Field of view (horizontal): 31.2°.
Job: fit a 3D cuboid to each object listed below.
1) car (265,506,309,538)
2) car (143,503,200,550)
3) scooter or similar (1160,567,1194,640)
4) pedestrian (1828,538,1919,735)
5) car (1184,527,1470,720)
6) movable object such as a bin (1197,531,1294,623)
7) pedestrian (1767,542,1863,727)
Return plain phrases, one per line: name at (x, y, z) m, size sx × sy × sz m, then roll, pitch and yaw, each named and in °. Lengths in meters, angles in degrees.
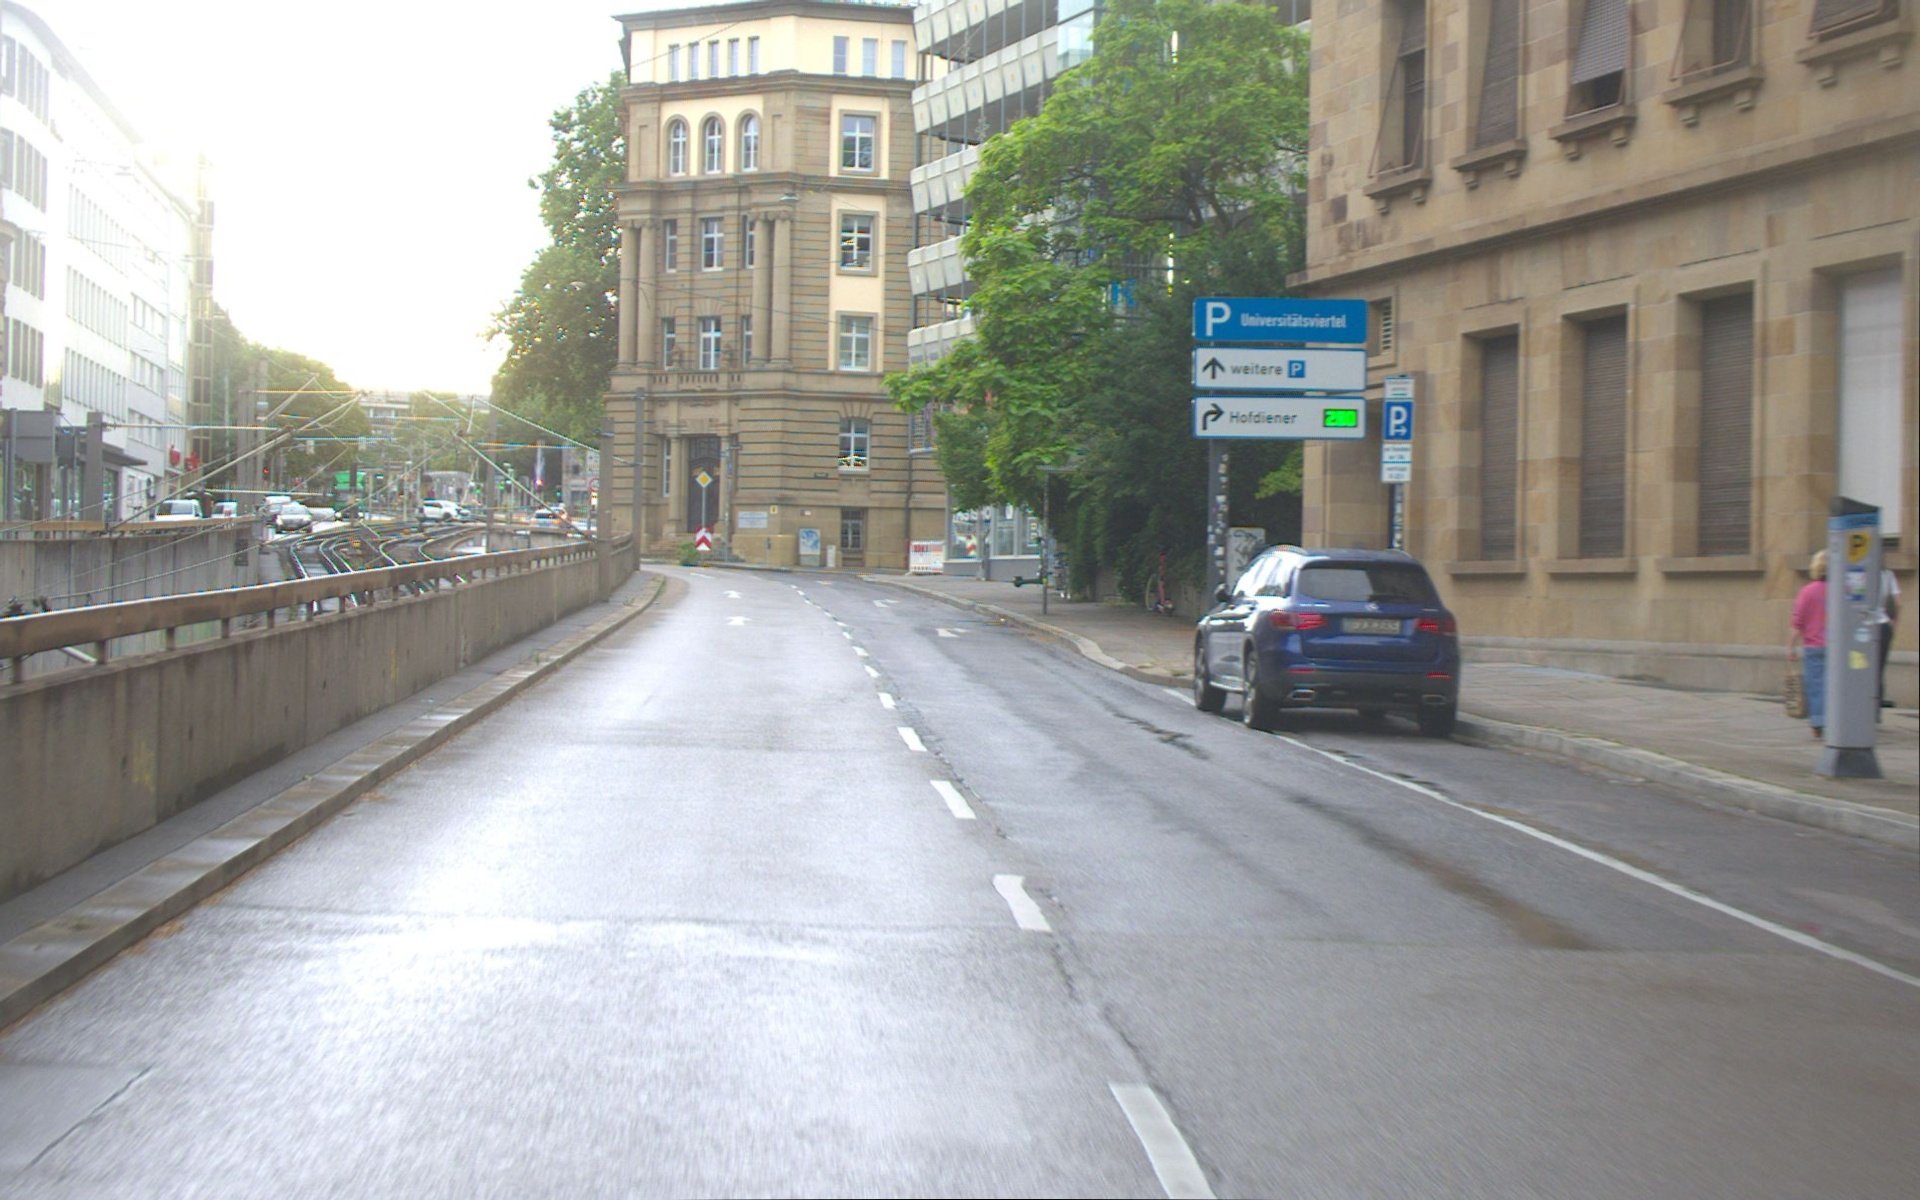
car at (-34.341, -4.000, 175.502) m, size 1.993 × 1.522 × 3.664 m, roll 2°, pitch 1°, yaw -9°
car at (-33.917, -3.171, 147.982) m, size 1.993 × 1.876 × 4.928 m, roll 2°, pitch 1°, yaw -9°
scooter or similar at (3.819, 0.056, 60.623) m, size 0.447 × 1.255 × 1.211 m, roll 0°, pitch 1°, yaw -4°
pedestrian at (7.568, 0.293, 28.430) m, size 0.524 × 1.597 × 0.674 m, roll 2°, pitch 1°, yaw -4°
car at (3.322, 0.182, 31.901) m, size 1.768 × 1.614 × 4.158 m, roll 2°, pitch 0°, yaw -6°
movable object such as a bin at (4.091, -0.335, 49.380) m, size 1.239 × 1.305 × 1.234 m, roll 0°, pitch 1°, yaw -3°
pedestrian at (7.022, 0.274, 28.245) m, size 0.524 × 1.487 × 0.674 m, roll 2°, pitch 1°, yaw -6°
